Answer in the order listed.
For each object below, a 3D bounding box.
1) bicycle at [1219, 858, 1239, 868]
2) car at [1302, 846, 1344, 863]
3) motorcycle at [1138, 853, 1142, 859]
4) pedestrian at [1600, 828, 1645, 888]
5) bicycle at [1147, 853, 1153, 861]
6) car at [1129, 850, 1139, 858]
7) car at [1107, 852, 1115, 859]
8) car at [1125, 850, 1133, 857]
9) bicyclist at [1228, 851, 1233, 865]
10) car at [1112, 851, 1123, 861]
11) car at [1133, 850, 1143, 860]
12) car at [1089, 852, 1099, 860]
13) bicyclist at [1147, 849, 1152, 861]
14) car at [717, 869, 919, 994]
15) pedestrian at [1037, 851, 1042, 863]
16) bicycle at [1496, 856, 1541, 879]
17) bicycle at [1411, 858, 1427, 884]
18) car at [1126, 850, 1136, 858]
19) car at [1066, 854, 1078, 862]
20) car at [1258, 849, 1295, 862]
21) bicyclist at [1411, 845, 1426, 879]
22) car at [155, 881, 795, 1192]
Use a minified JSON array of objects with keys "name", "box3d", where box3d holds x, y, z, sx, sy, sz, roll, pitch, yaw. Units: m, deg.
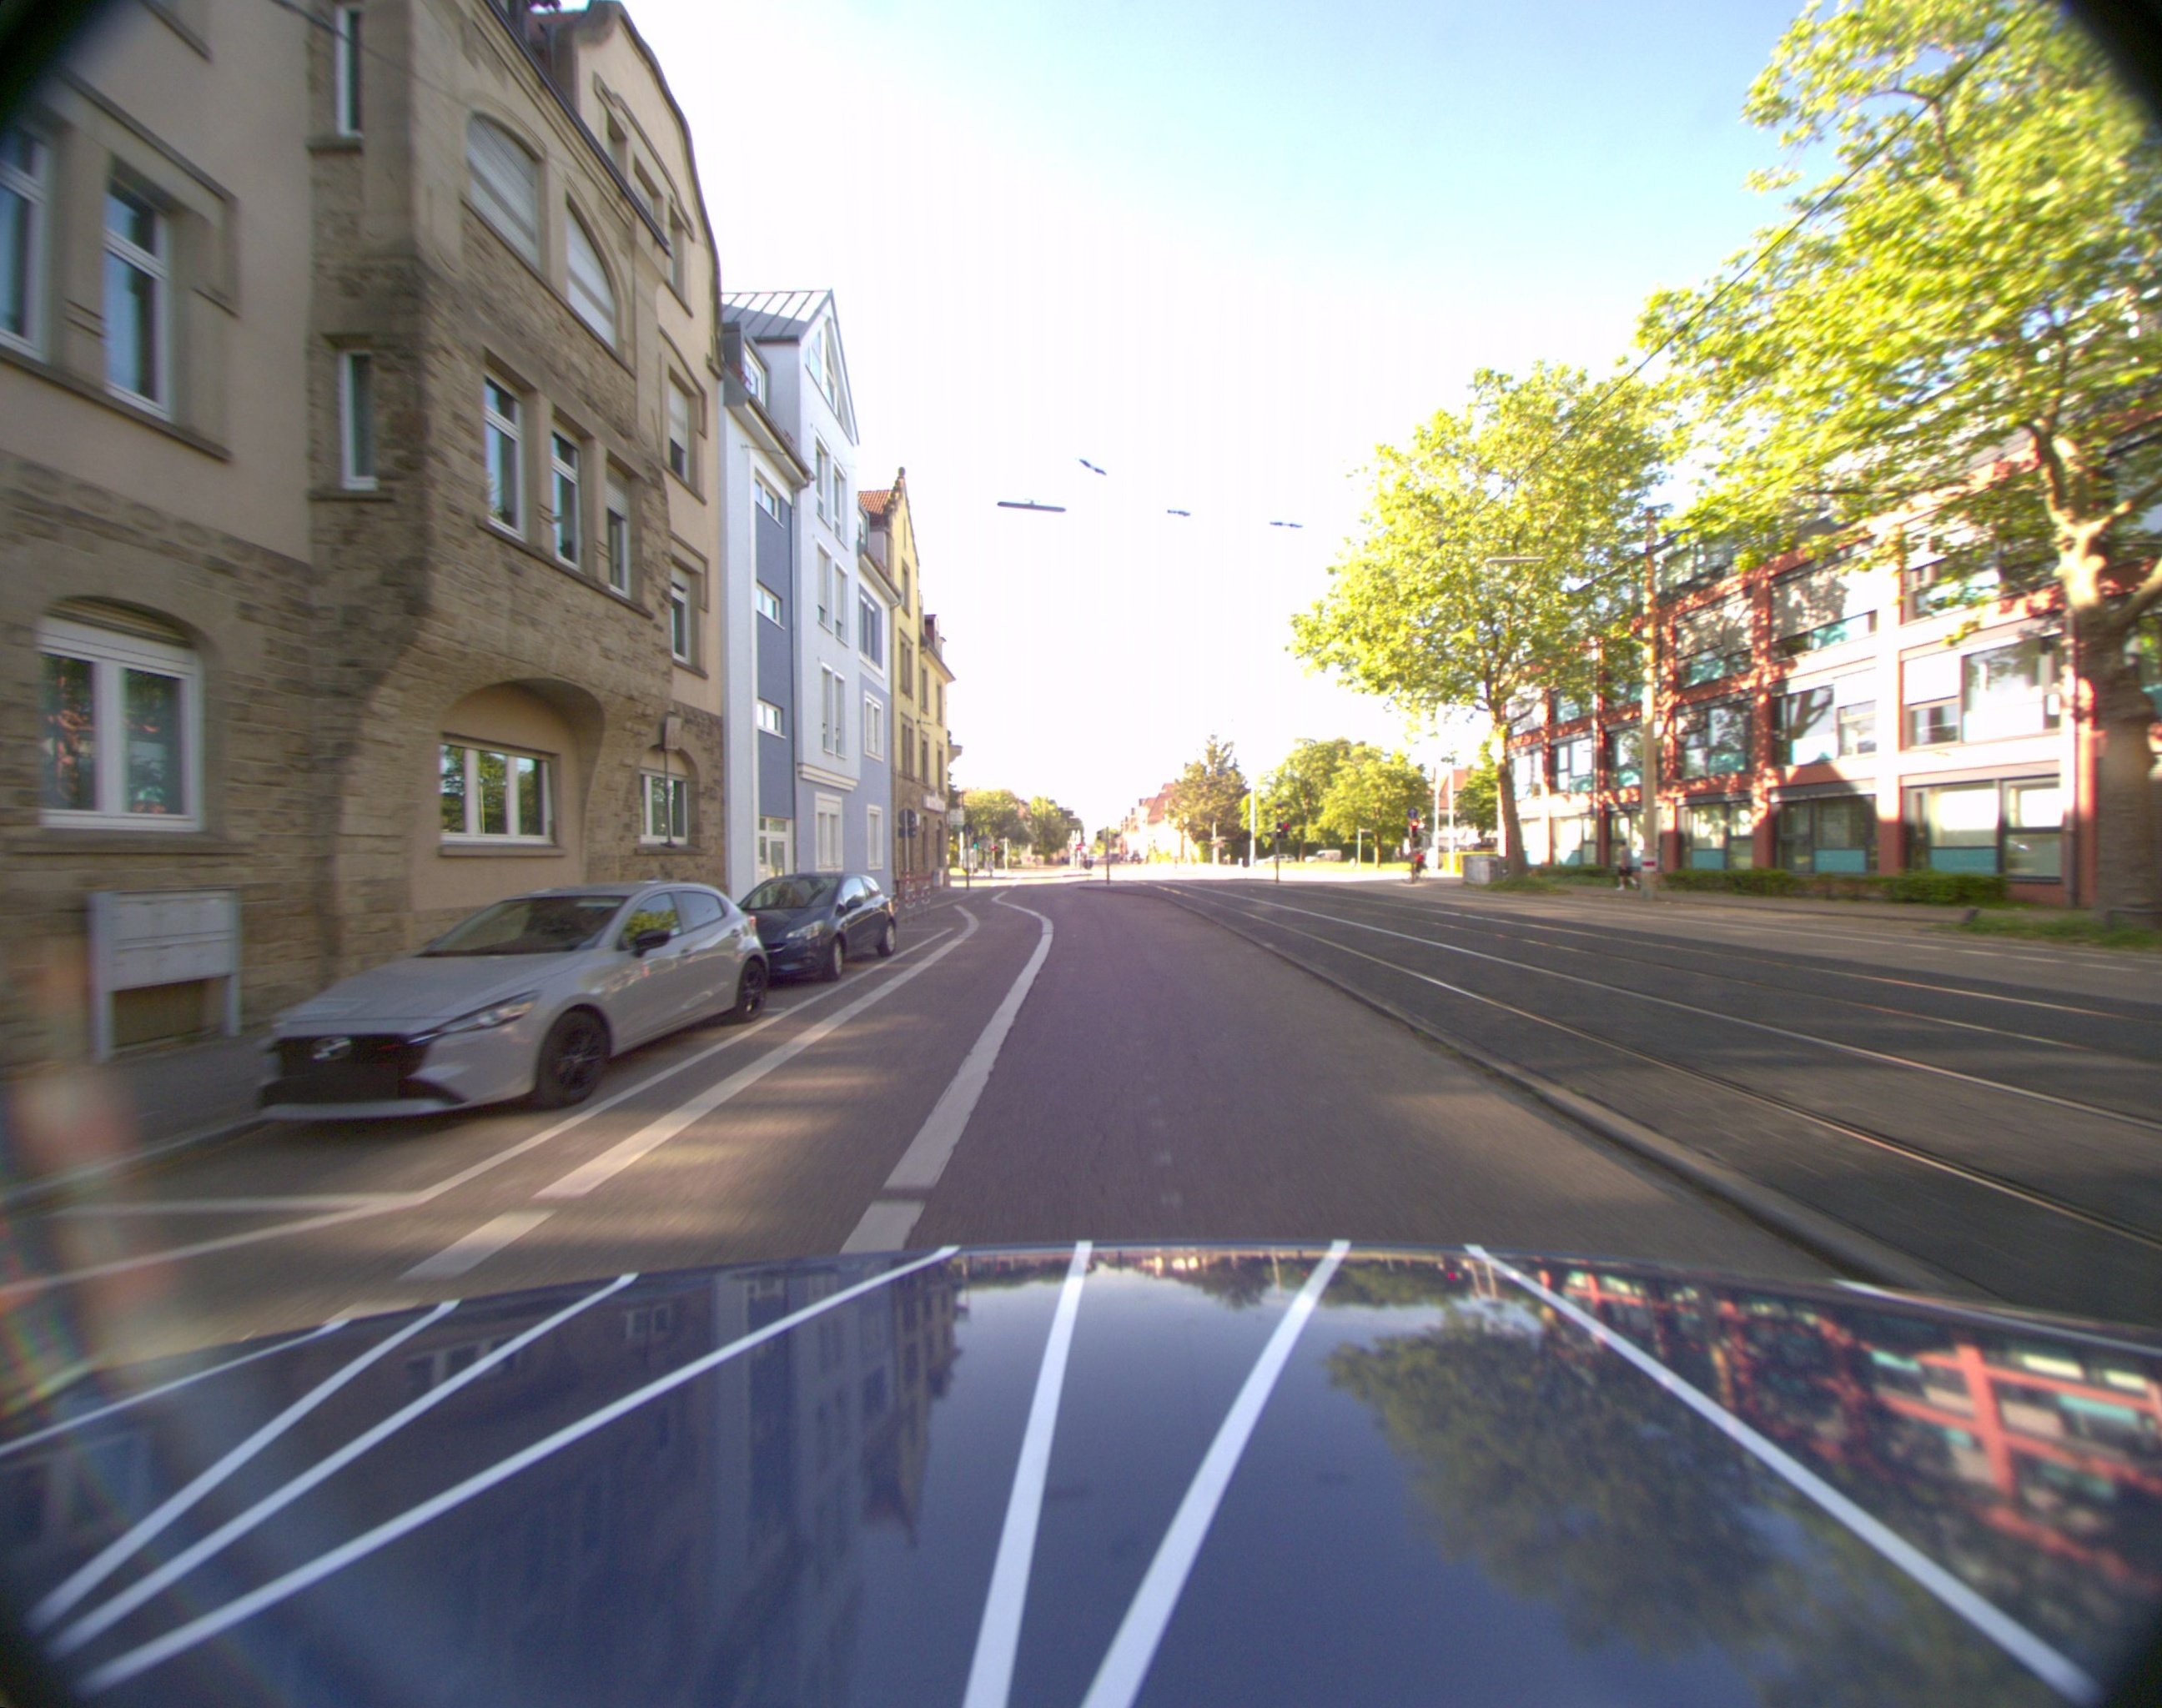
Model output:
[{"name":"bicycle","box3d":[17.428,1.021,89.264,2.284,1.111,0.930,-1,1,9]},{"name":"car","box3d":[28.798,0.051,90.483,4.311,1.856,1.817,-2,0,3]},{"name":"motorcycle","box3d":[10.492,0.280,134.999,0.605,1.040,2.438,-3,0,3]},{"name":"pedestrian","box3d":[18.741,0.137,26.318,0.913,2.002,0.780,-3,0,-7]},{"name":"bicycle","box3d":[9.767,0.456,107.748,0.588,1.107,1.826,0,0,-1]},{"name":"car","box3d":[11.383,-0.008,164.626,1.924,1.705,4.001,-3,0,2]},{"name":"car","box3d":[7.924,0.297,200.360,1.923,1.705,4.001,-3,0,5]},{"name":"car","box3d":[11.709,-0.202,185.727,1.923,1.555,4.001,-3,0,5]},{"name":"bicyclist","box3d":[17.514,0.490,89.237,0.559,1.613,0.899,-1,1,9]},{"name":"car","box3d":[7.256,0.430,148.835,2.024,2.001,5.253,0,-1,4]},{"name":"car","box3d":[11.224,0.175,149.813,1.923,1.890,4.001,-3,0,4]},{"name":"car","box3d":[2.823,0.441,166.885,1.923,1.705,4.001,-3,0,4]},{"name":"bicyclist","box3d":[9.736,0.150,107.904,0.588,1.701,0.901,0,0,-1]},{"name":"car","box3d":[-3.836,1.042,11.857,1.659,1.474,4.000,-2,0,1]},{"name":"pedestrian","box3d":[-5.805,0.478,106.047,0.655,1.664,0.943,0,1,3]},{"name":"bicycle","box3d":[17.286,0.526,30.073,0.522,0.901,1.541,-1,1,-22]},{"name":"bicycle","box3d":[16.827,0.831,37.819,0.632,1.123,2.038,-1,2,26]},{"name":"car","box3d":[11.204,0.016,170.580,1.924,1.705,4.000,-3,0,2]},{"name":"car","box3d":[-1.731,0.727,147.419,1.704,1.541,4.002,-3,0,6]},{"name":"car","box3d":[22.677,0.156,88.273,3.995,1.425,1.817,-1,0,7]},{"name":"bicyclist","box3d":[16.810,0.390,37.840,0.605,1.682,0.934,-3,0,26]},{"name":"car","box3d":[-4.173,1.101,6.321,1.757,1.492,4.196,-3,0,3]}]
